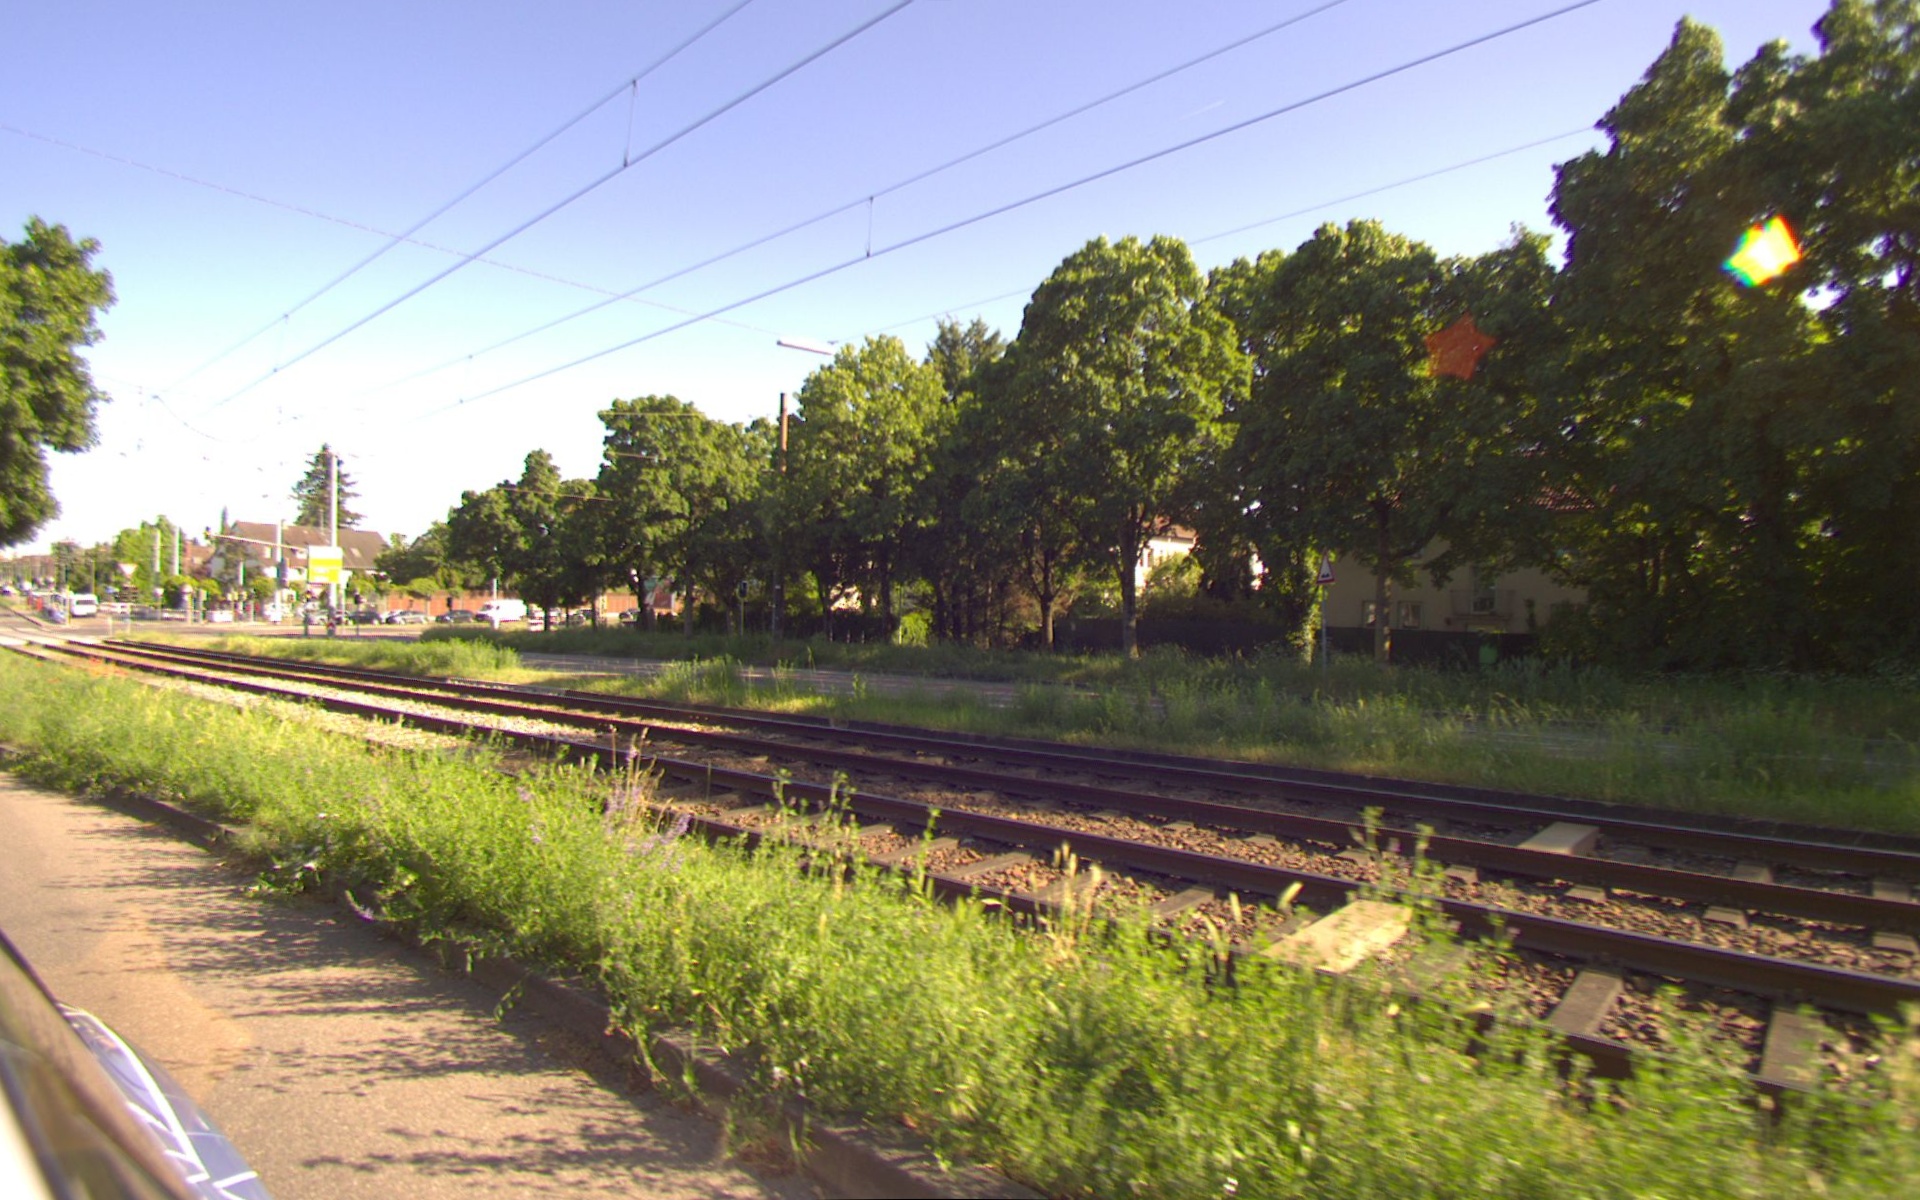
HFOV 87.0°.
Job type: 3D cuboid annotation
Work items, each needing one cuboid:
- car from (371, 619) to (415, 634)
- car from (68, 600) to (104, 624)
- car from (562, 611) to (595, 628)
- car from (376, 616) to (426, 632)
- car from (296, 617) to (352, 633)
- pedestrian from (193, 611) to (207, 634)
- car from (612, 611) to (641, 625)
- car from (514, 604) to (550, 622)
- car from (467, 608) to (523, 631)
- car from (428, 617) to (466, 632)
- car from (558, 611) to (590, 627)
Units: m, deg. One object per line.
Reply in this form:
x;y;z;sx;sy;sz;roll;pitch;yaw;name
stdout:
-58.550;2.726;104.598;1.658;1.488;3.978;1;-1;17;car
-94.649;1.287;109.683;2.310;2.476;6.886;2;-1;-36;car
-47.572;2.434;126.197;1.792;2.029;3.980;1;-1;15;car
-55.743;2.390;100.960;1.921;1.477;4.235;0;-1;17;car
-60.678;2.398;96.625;1.658;1.488;4.610;1;-1;17;car
-67.882;2.010;90.418;0.765;1.963;0.611;0;-1;1;pedestrian
-44.192;2.363;134.110;1.792;1.755;3.980;0;-1;15;car
-50.047;1.494;118.341;1.792;2.029;3.979;1;-1;16;car
-51.661;2.122;112.529;2.164;2.429;5.885;1;-1;19;car
-53.716;2.566;106.099;1.486;1.579;3.505;0;-1;19;car
-49.699;2.452;130.323;1.792;2.029;3.980;1;-1;15;car
